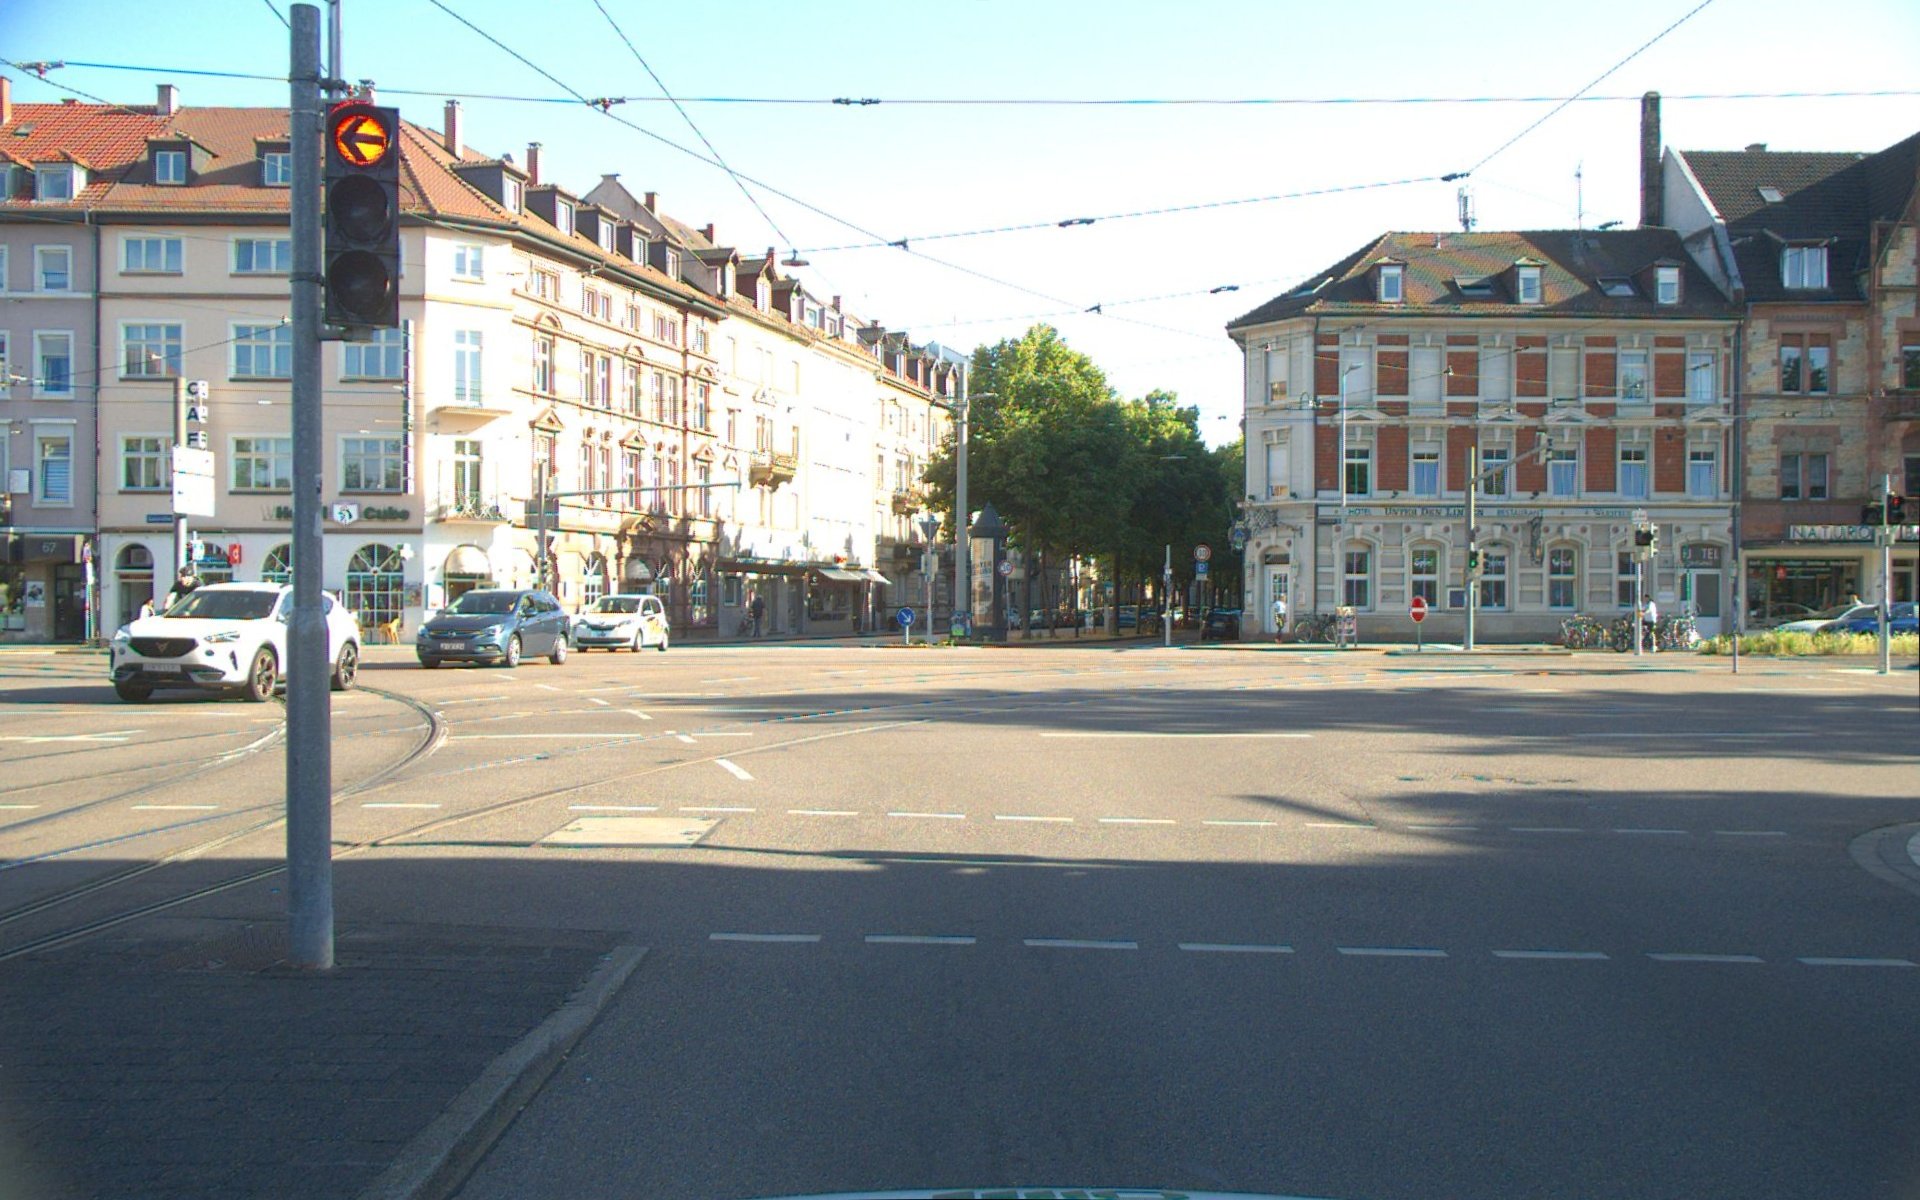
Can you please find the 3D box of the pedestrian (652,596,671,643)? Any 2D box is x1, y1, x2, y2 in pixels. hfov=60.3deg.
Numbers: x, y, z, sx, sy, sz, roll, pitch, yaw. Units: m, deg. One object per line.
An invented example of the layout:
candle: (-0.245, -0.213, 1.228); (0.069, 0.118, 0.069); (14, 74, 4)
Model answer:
pedestrian: (-12.061, 0.779, 66.864); (0.567, 1.868, 0.633); (0, 0, 15)

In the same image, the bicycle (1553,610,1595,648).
bicycle: (19.828, 0.924, 53.454); (0.663, 1.211, 1.967); (0, 0, 0)

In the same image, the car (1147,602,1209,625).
car: (15.372, 0.943, 116.677); (3.913, 1.572, 1.996); (0, 0, 30)

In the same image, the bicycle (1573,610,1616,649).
bicycle: (20.516, 0.952, 53.491); (0.663, 1.211, 1.967); (0, 0, 0)

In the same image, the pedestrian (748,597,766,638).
pedestrian: (-9.567, 0.816, 77.925); (0.667, 1.942, 0.633); (0, 0, 15)

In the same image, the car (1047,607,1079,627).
car: (8.253, 1.351, 132.370); (1.951, 1.523, 4.037); (0, 0, 13)

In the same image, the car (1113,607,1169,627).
car: (14.066, 1.314, 128.503); (3.910, 1.572, 1.998); (0, 0, 28)

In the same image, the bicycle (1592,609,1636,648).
bicycle: (21.155, 0.914, 53.501); (0.663, 1.211, 1.967); (0, 0, 0)

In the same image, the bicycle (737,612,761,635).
bicycle: (-10.136, 1.124, 79.386); (0.484, 1.086, 1.771); (0, 0, 15)

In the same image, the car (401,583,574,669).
car: (-8.902, 0.461, 31.578); (1.736, 1.523, 4.575); (0, 0, 4)

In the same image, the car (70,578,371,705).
car: (-9.629, 0.488, 21.978); (1.952, 1.523, 4.348); (0, 0, 2)

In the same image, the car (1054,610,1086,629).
car: (9.110, 1.603, 136.650); (1.951, 1.523, 4.037); (0, 0, 13)

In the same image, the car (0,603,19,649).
car: (-32.483, 0.825, 52.152); (4.547, 1.465, 1.743); (0, -1, -4)

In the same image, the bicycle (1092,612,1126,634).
bicycle: (7.463, 1.154, 82.858); (0.577, 1.086, 1.924); (0, 0, -37)

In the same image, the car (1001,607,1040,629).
car: (4.297, 1.257, 116.787); (1.951, 1.523, 4.037); (0, 0, 13)

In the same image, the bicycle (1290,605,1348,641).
bicycle: (12.454, 0.797, 57.358); (1.919, 1.211, 0.546); (0, 0, 4)

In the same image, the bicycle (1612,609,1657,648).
bicycle: (21.817, 0.918, 53.503); (0.663, 1.211, 1.967); (0, 0, 0)

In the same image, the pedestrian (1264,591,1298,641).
pedestrian: (11.164, 0.554, 57.515); (0.923, 1.698, 0.713); (0, 0, 44)

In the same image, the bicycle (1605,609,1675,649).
bicycle: (21.057, 0.900, 51.243); (1.920, 1.211, 0.602); (0, 0, 2)

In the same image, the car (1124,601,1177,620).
car: (15.509, 0.854, 134.636); (3.910, 1.572, 1.998); (0, 0, 28)

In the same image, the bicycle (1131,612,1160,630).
bicycle: (11.160, 1.261, 99.405); (0.577, 1.086, 1.924); (0, 0, -37)

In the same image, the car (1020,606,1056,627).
car: (5.792, 1.231, 122.669); (1.951, 1.523, 4.037); (0, 0, 13)

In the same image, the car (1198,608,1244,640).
car: (13.069, 1.158, 82.601); (1.951, 1.523, 4.037); (0, 0, 13)

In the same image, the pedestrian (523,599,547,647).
pedestrian: (-14.651, 0.786, 56.997); (0.617, 1.670, 0.553); (0, 0, 13)

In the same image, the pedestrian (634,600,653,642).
pedestrian: (-12.622, 0.828, 65.922); (0.539, 1.670, 0.538); (0, 0, 19)

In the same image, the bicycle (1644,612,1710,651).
bicycle: (23.039, 0.999, 53.124); (1.926, 1.211, 0.677); (0, 0, -13)

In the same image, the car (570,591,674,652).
car: (-8.736, 0.536, 43.009); (1.681, 1.523, 3.586); (0, 0, 5)

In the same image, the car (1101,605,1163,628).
car: (12.029, 1.170, 115.834); (3.910, 1.572, 1.998); (0, 0, 28)

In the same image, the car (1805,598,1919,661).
car: (25.910, 0.791, 45.954); (3.906, 1.697, 1.954); (0, 0, -2)

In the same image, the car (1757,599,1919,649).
car: (25.962, 0.702, 48.950); (3.906, 1.437, 1.845); (0, 0, -2)

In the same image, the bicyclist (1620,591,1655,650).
bicyclist: (20.995, 0.628, 51.253); (0.854, 1.795, 0.602); (0, 0, 2)

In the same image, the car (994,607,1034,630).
car: (3.700, 1.223, 112.915); (1.951, 1.523, 4.037); (0, 0, 13)

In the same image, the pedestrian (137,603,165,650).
pedestrian: (-26.752, 0.867, 54.691); (0.645, 1.551, 0.694); (0, 0, -6)
